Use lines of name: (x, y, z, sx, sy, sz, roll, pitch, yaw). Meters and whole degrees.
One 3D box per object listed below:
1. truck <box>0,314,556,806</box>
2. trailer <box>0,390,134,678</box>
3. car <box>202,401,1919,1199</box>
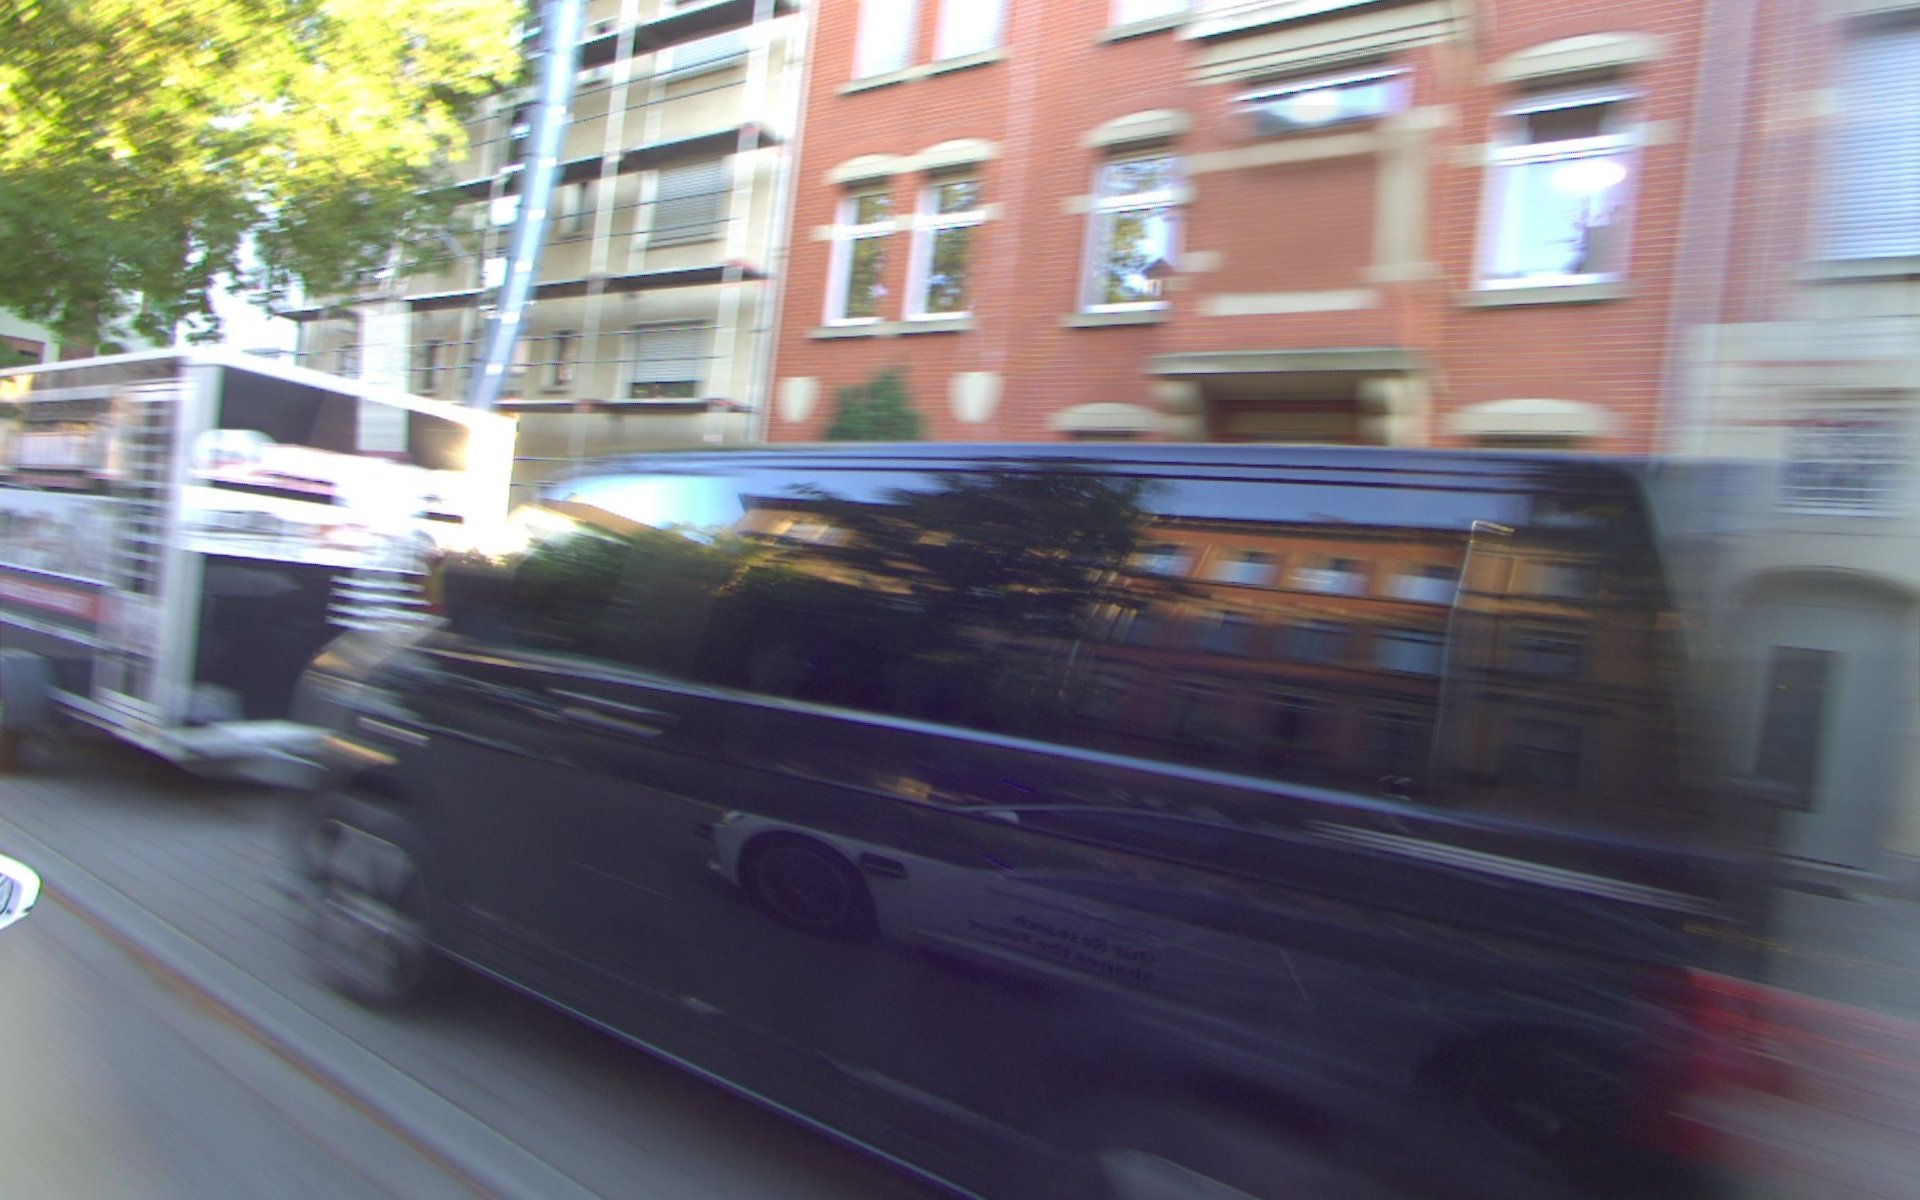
truck: (-5.061, -0.375, 6.671, 4.567, 2.276, 1.955, 7, 2, 32)
trailer: (-9.772, -0.758, 9.198, 4.567, 2.326, 1.955, 7, 2, 31)
car: (-0.281, 0.550, 3.287, 4.536, 1.968, 1.840, 7, 2, 31)
